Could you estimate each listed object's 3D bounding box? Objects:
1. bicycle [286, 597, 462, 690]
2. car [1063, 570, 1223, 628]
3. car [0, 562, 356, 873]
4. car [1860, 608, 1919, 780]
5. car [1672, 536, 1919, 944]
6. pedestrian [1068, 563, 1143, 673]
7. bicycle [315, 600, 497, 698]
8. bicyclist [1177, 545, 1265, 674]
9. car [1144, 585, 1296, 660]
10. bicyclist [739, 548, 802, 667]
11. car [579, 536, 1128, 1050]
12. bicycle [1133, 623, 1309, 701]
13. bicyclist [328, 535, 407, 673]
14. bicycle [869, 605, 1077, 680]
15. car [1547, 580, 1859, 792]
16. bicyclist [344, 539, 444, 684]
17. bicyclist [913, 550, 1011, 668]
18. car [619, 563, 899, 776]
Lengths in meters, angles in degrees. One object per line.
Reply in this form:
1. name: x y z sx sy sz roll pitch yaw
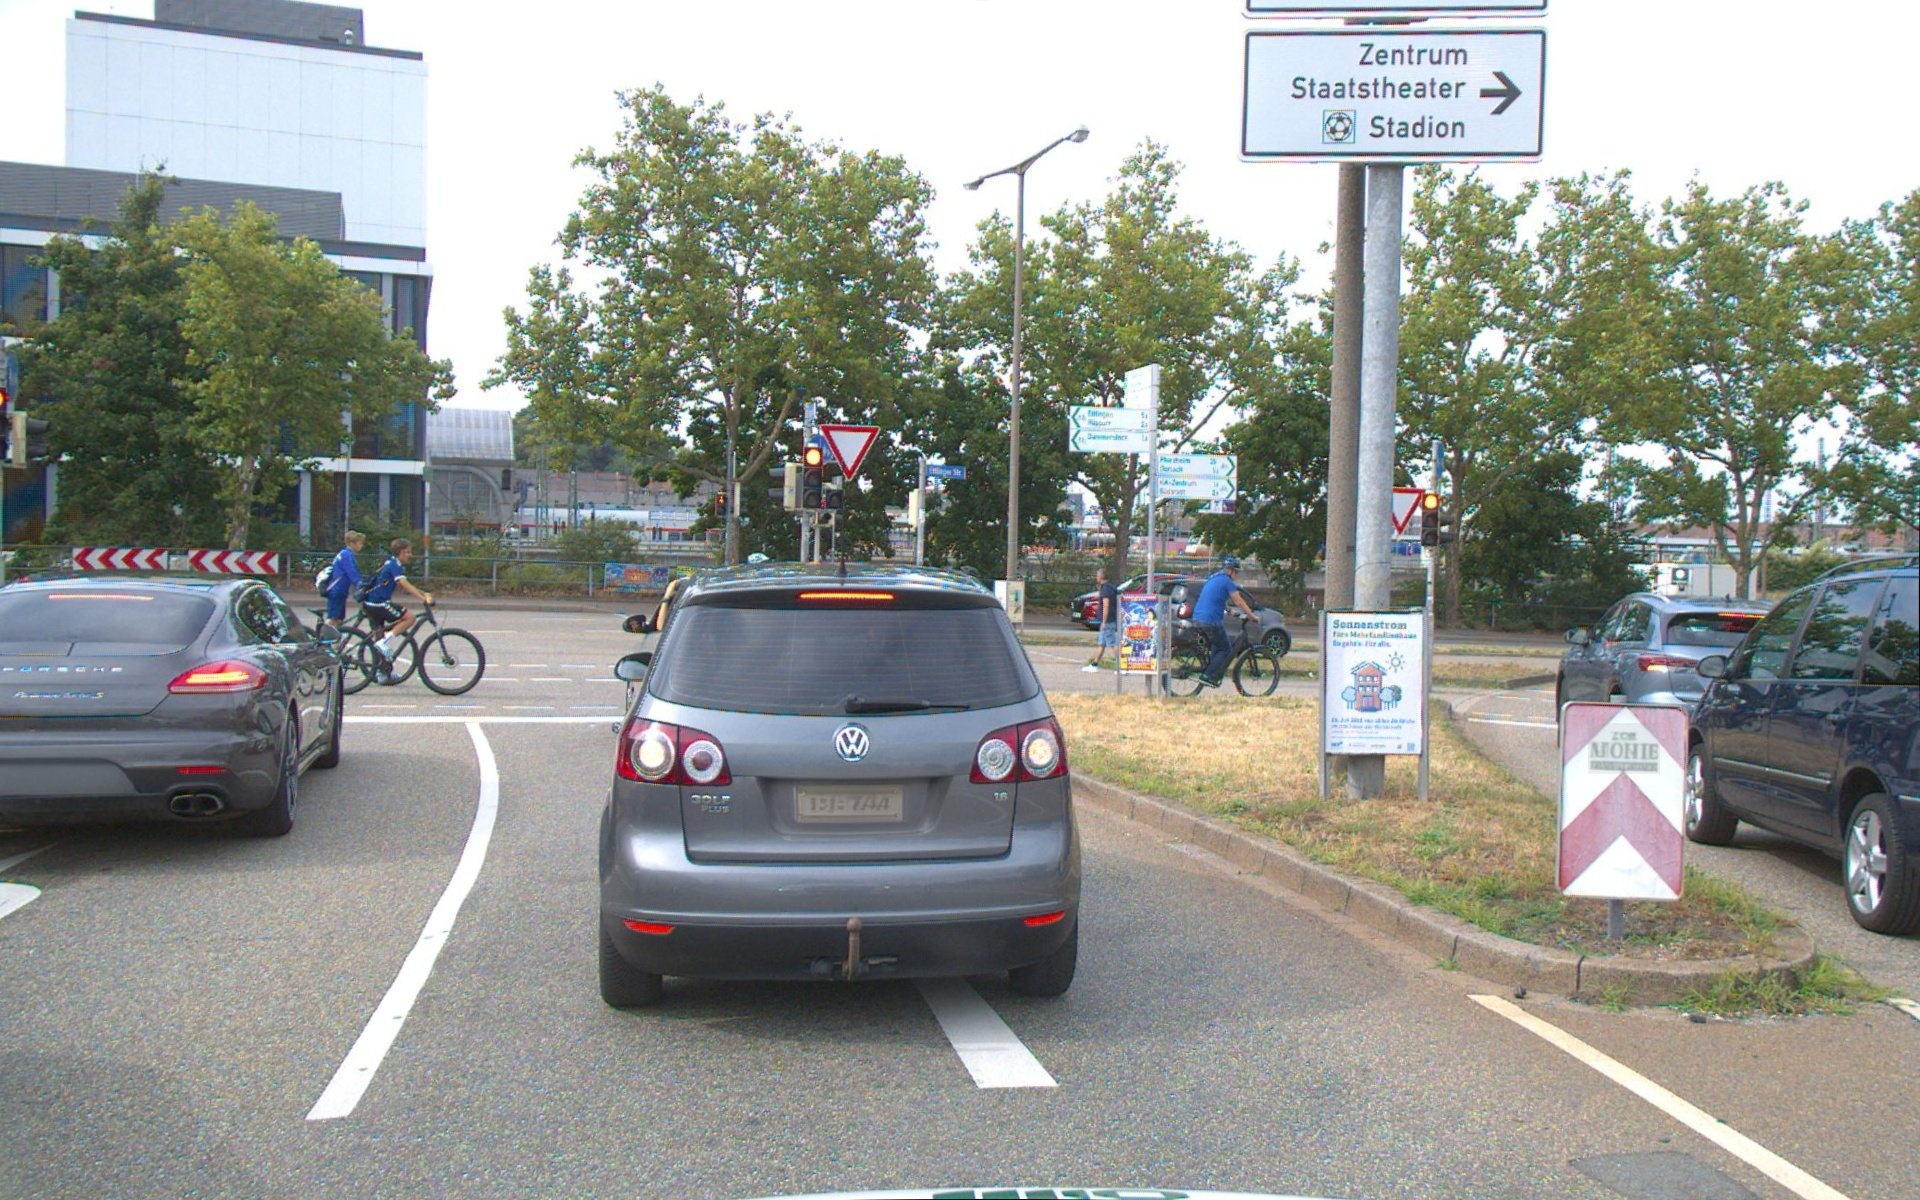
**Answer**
1. bicycle: -6.761 0.496 19.134 1.873 1.031 0.625 1 1 -21
2. car: 4.847 -0.025 43.839 3.894 1.473 1.692 1 1 -21
3. car: -4.850 0.513 10.118 1.789 1.438 4.756 1 1 -16
4. car: 10.137 0.959 15.484 1.713 1.671 4.141 3 0 10
5. car: 5.261 0.646 8.689 1.713 1.754 4.141 3 0 9
6. pedestrian: 2.392 0.282 27.100 1.025 1.740 0.854 2 1 17
7. bicycle: -6.106 0.540 18.302 1.871 1.031 0.625 1 1 -18
8. bicyclist: 3.461 0.120 21.969 0.867 1.685 0.807 1 1 -19
9. car: 5.287 0.449 33.664 2.672 1.447 1.490 1 1 -22
10. bicyclist: -2.631 0.096 22.897 0.766 1.608 0.652 1 1 -14
11. car: -0.610 0.580 7.217 1.709 1.573 4.074 1 0 -9
12. bicycle: 3.462 0.811 21.961 2.195 0.969 0.807 1 1 -20
13. bicyclist: -6.847 0.040 19.109 0.826 1.556 0.625 1 1 -21
14. bicycle: 0.169 0.542 20.999 2.541 0.905 0.702 1 1 -16
15. car: 6.733 0.696 15.448 1.655 1.613 4.160 3 0 11
16. bicyclist: -6.225 0.122 18.239 1.000 1.566 0.625 1 1 -18
17. bicyclist: 0.016 0.109 20.941 1.095 1.461 0.645 0 1 -16
18. car: -1.838 0.475 13.916 1.713 1.508 4.064 1 1 -16
